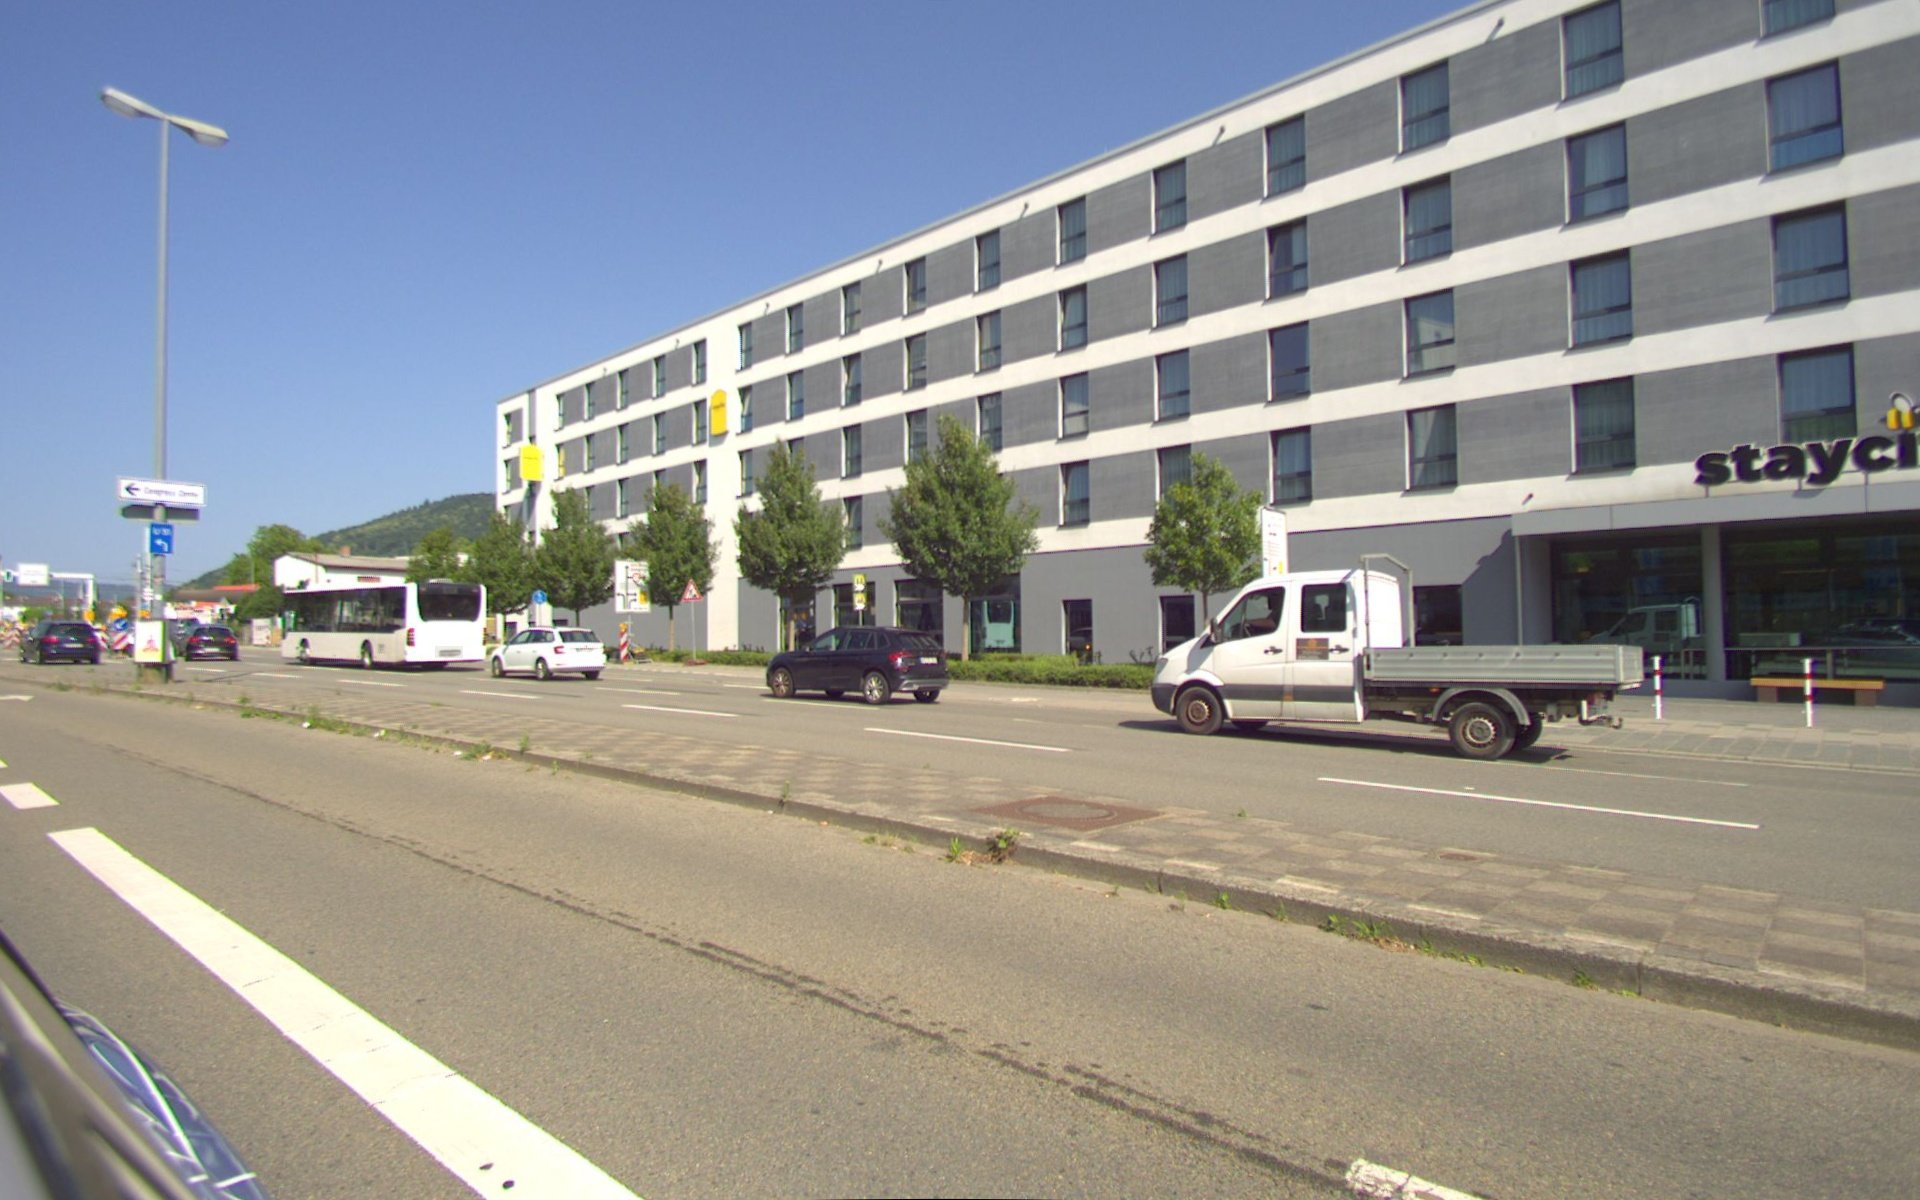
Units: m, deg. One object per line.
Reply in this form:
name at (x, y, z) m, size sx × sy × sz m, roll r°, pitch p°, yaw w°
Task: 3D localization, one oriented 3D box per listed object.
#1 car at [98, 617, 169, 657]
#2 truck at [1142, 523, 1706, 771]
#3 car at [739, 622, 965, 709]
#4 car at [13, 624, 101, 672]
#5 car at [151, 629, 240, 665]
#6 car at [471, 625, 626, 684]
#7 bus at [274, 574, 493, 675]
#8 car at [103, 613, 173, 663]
car at (-46.713, 2.089, 57.204) m, size 3.989 × 2.029 × 1.977 m, roll -4°, pitch -1°, yaw 34°
truck at (5.825, 0.613, 13.484) m, size 6.433 × 2.565 × 2.333 m, roll -2°, pitch -4°, yaw 41°
car at (-2.276, 1.314, 20.899) m, size 4.403 × 1.590 × 1.976 m, roll -1°, pitch -4°, yaw 35°
car at (-32.681, 1.694, 36.594) m, size 4.133 × 1.630 × 1.865 m, roll -1°, pitch -2°, yaw 41°
car at (-32.270, 1.939, 42.691) m, size 4.887 × 1.443 × 1.973 m, roll -1°, pitch -2°, yaw 40°
car at (-11.674, 1.525, 28.624) m, size 4.403 × 1.497 × 1.976 m, roll 0°, pitch -4°, yaw 36°
bus at (-20.836, 0.901, 36.061) m, size 11.966 × 3.102 × 2.710 m, roll -1°, pitch -4°, yaw 40°
car at (-35.558, 1.598, 43.724) m, size 4.162 × 2.029 × 1.658 m, roll 0°, pitch 0°, yaw 41°
